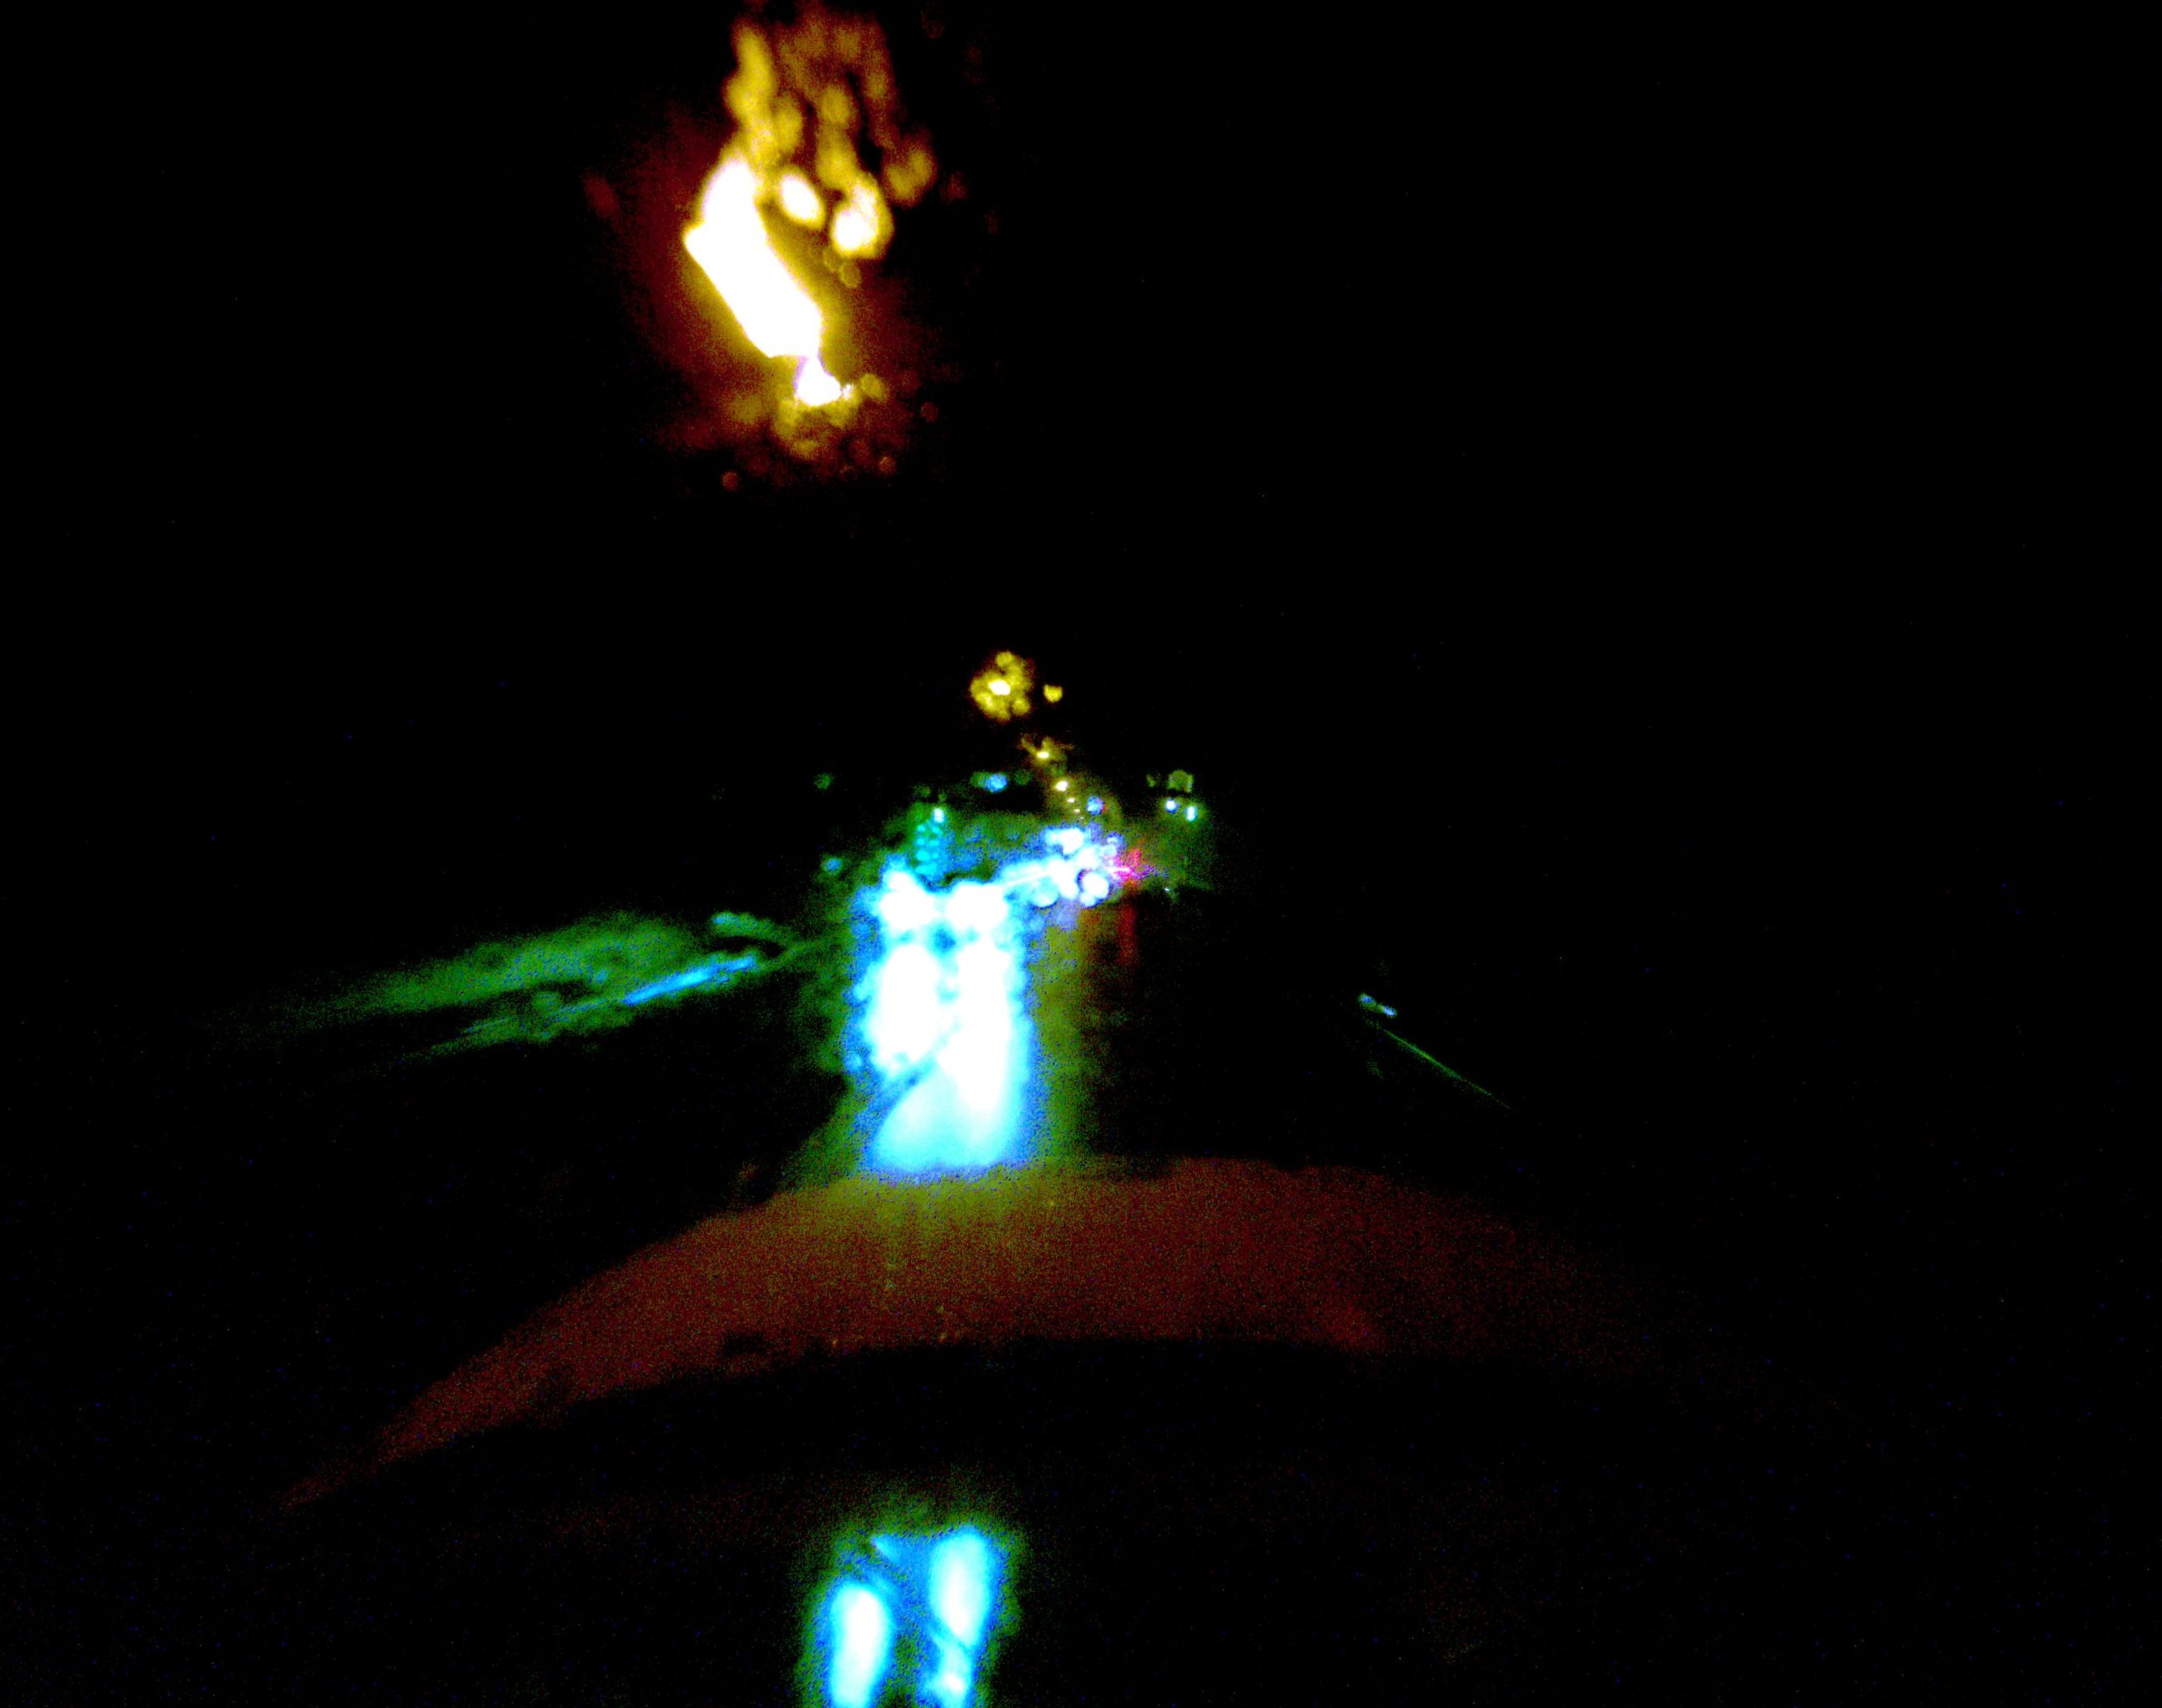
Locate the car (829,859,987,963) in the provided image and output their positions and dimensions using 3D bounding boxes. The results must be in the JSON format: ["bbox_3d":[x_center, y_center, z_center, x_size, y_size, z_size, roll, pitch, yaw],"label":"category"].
[{"bbox_3d":[-2.811,0.854,14.228,1.771,1.408,4.294,-2,1,0],"label":"car"}]

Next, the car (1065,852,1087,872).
[{"bbox_3d":[-0.560,0.852,90.058,2.203,2.013,4.002,-2,1,2],"label":"car"}]

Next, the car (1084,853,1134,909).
[{"bbox_3d":[1.035,0.889,28.964,1.628,1.757,4.149,-2,1,3],"label":"car"}]
